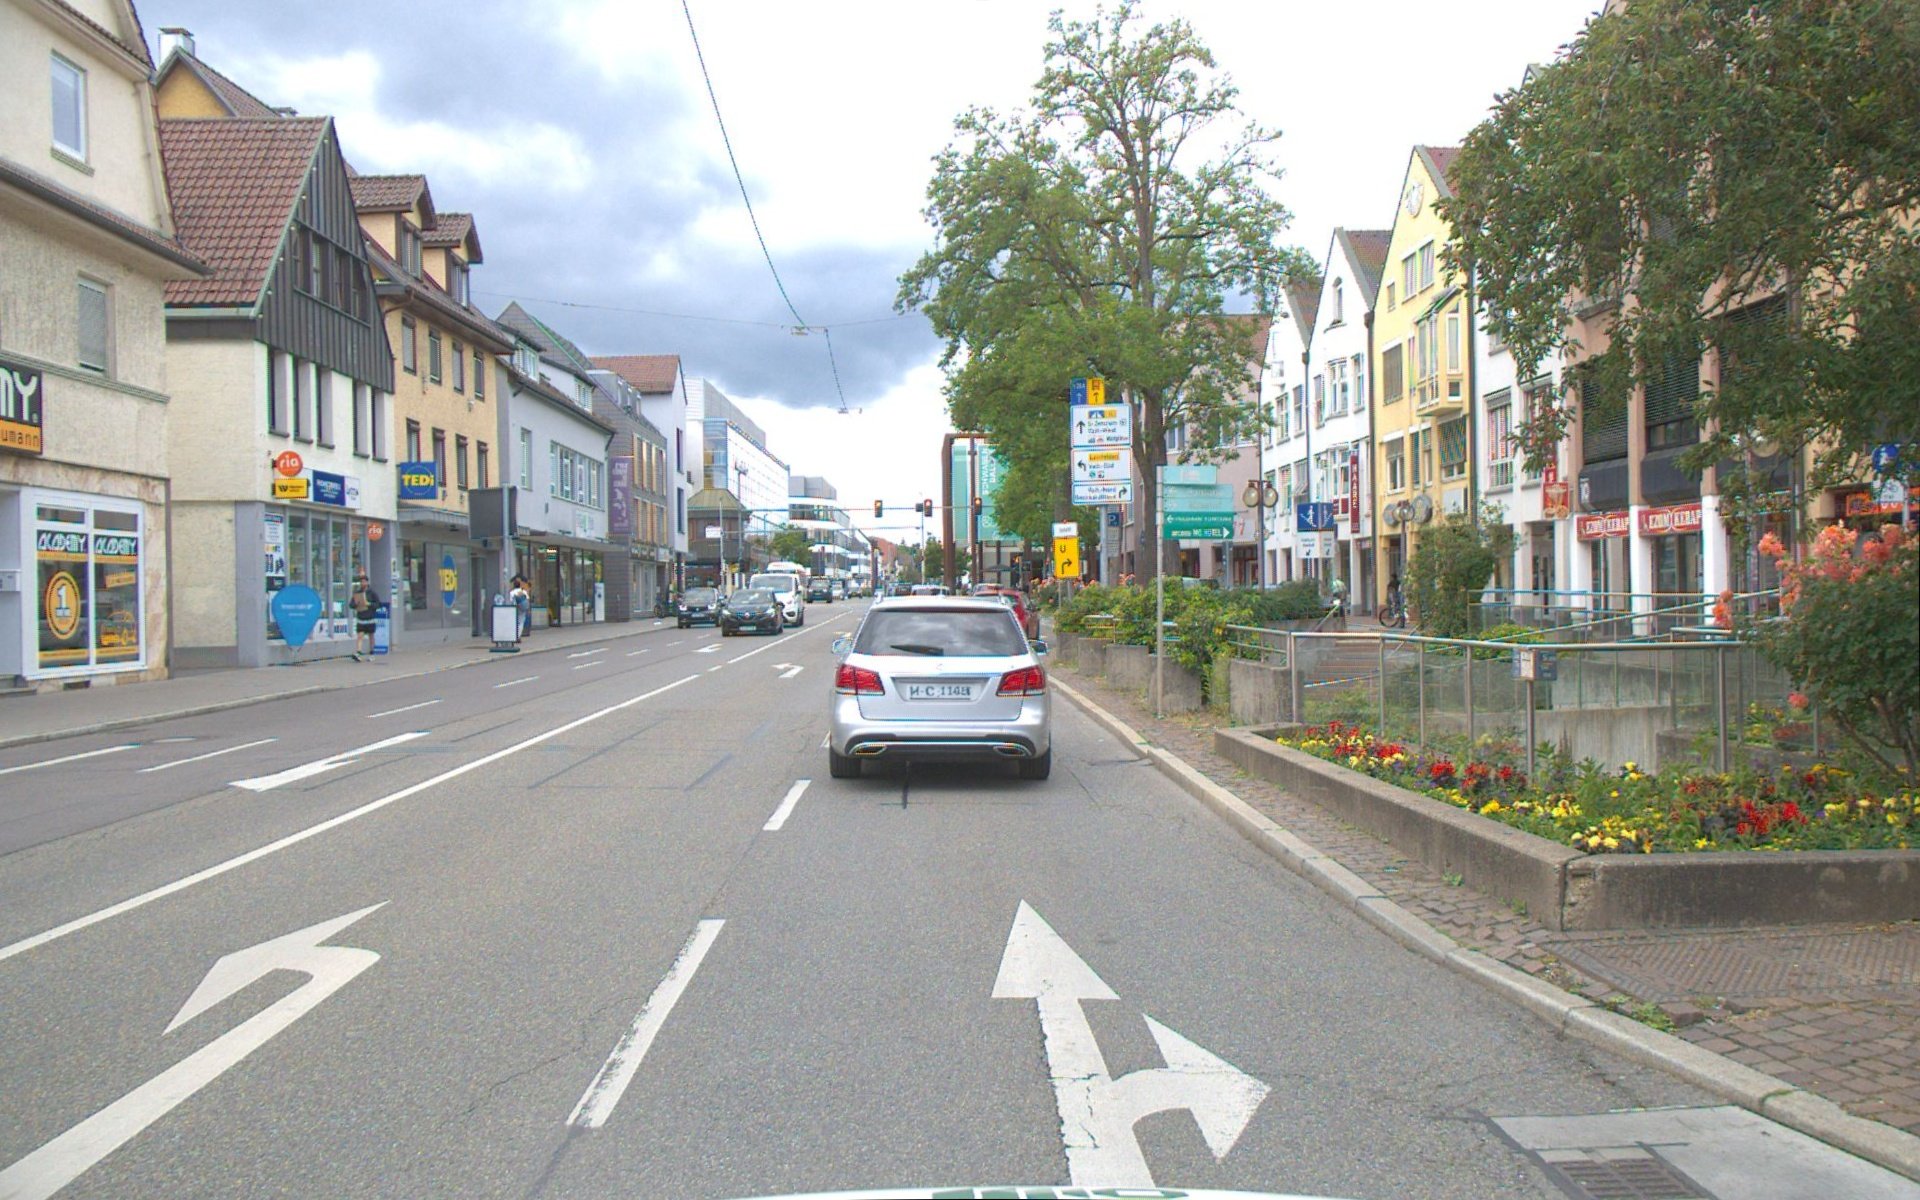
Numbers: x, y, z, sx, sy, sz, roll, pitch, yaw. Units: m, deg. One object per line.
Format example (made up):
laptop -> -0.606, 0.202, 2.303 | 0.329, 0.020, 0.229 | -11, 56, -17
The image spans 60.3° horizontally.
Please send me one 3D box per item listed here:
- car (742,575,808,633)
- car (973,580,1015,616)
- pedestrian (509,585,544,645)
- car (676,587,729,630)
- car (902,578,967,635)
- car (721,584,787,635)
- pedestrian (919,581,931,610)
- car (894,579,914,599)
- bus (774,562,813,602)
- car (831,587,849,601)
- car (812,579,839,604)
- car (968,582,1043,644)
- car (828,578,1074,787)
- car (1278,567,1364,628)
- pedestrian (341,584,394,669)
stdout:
car -> -6.877, 0.120, 61.800 | 1.922, 1.995, 5.138 | -3, 0, -1
car -> 1.678, -0.125, 83.444 | 1.953, 1.713, 3.999 | -1, 1, -1
pedestrian -> -12.144, 0.419, 46.383 | 0.801, 1.663, 0.979 | 1, 0, -7
car -> -10.195, 0.315, 65.767 | 1.584, 1.550, 3.507 | -2, 1, -2
car -> -0.823, 0.170, 52.838 | 1.953, 1.713, 3.999 | -1, 1, -1
car -> -6.401, 0.271, 51.746 | 1.584, 1.453, 3.922 | -2, 1, -1
pedestrian -> -2.096, -0.272, 98.421 | 0.602, 1.663, 0.586 | 2, 1, -10
car -> -5.779, -1.149, 170.242 | 1.953, 2.049, 3.999 | -1, 1, -2
bus -> -13.924, -1.483, 138.995 | 2.719, 3.220, 5.932 | -1, 1, -1
car -> -11.462, -0.604, 158.008 | 1.543, 1.266, 3.606 | -1, 1, -1
car -> -11.177, -0.721, 137.437 | 1.953, 2.049, 3.999 | -1, 1, -1
car -> 1.231, 0.307, 43.401 | 1.717, 1.547, 4.003 | 0, 0, 5
car -> -0.173, 0.603, 14.395 | 1.837, 1.532, 3.997 | -1, 0, -3
car -> 11.752, -0.092, 54.056 | 1.829, 1.897, 3.999 | -1, 1, -1
pedestrian -> -12.778, 0.560, 35.697 | 0.850, 1.777, 0.805 | 2, 1, -6
